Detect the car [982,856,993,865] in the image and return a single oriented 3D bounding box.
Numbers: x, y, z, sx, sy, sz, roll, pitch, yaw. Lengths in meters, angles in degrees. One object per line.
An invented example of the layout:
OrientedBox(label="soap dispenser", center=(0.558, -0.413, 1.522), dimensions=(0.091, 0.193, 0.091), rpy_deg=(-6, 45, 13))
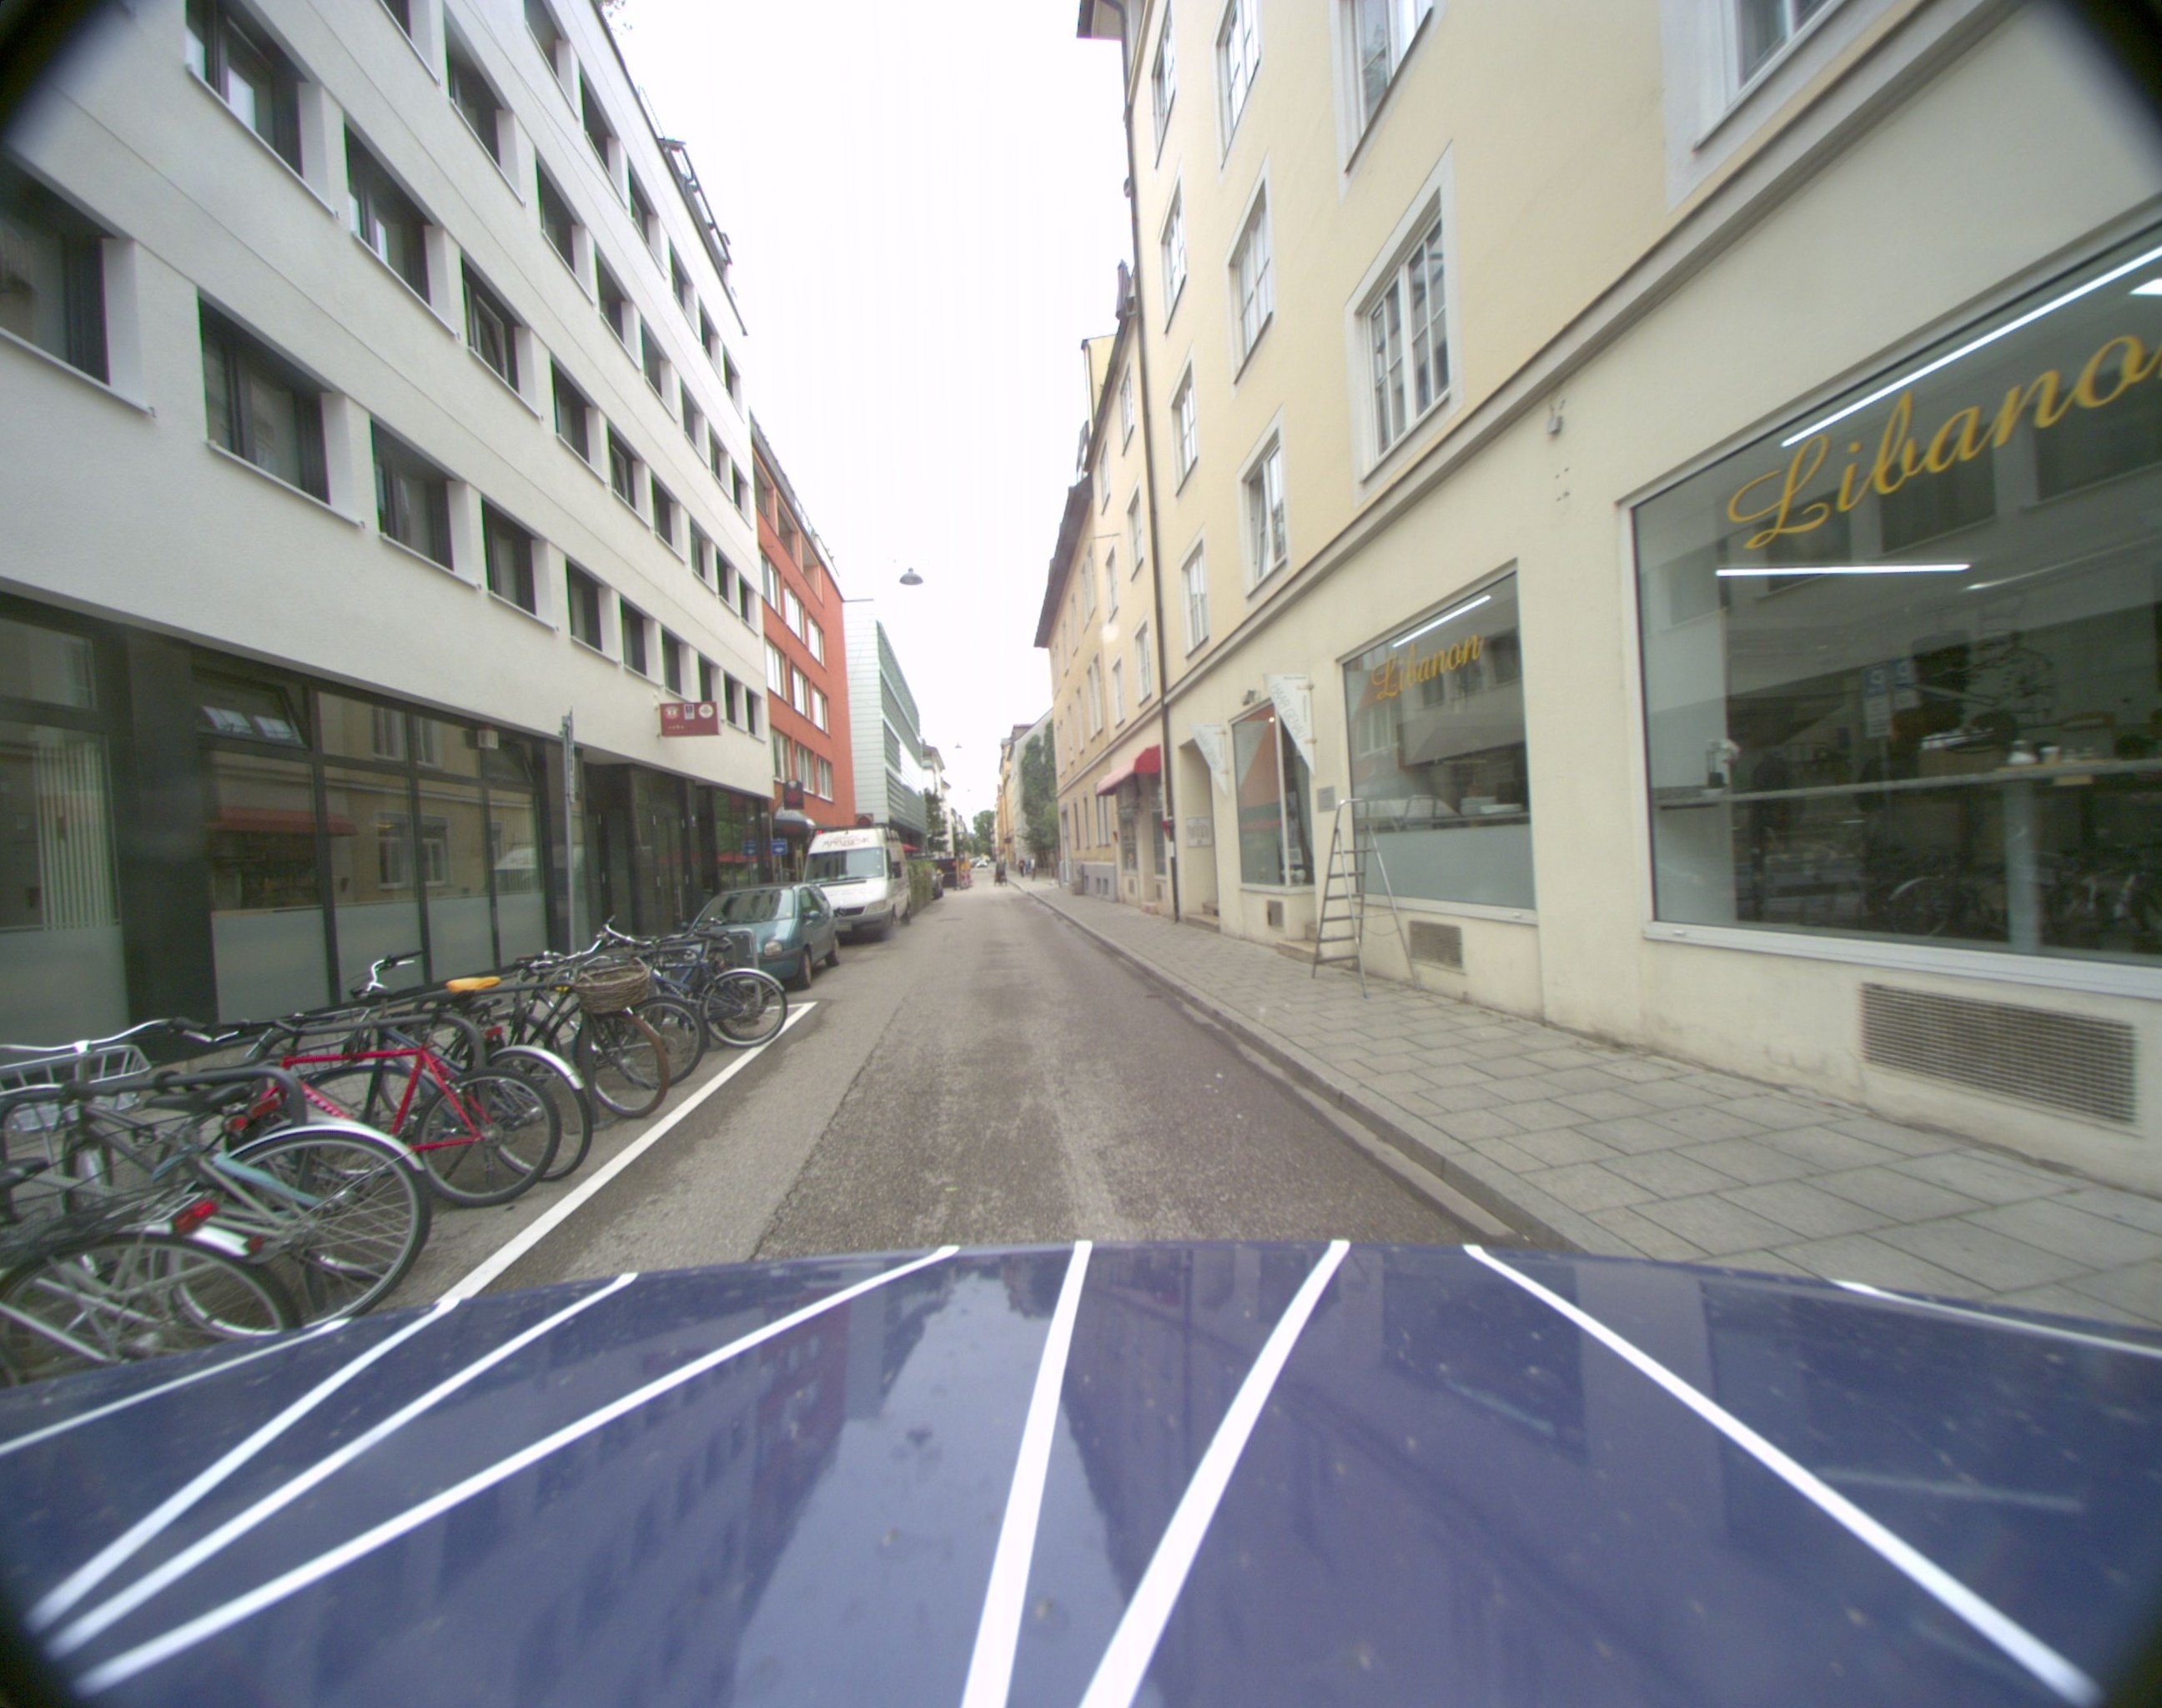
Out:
OrientedBox(label="car", center=(-18.141, 1.217, 146.688), dimensions=(2.000, 1.583, 4.372), rpy_deg=(-4, 1, -7))

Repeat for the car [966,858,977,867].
OrientedBox(label="car", center=(-17.697, 1.387, 122.759), dimensions=(1.626, 1.259, 4.326), rpy_deg=(-4, 0, -7))

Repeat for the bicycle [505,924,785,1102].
OrientedBox(label="bicycle", center=(-3.509, 1.260, 6.237), dimensions=(1.880, 1.197, 0.488), rpy_deg=(-4, 0, -9))

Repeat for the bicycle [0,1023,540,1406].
OrientedBox(label="bicycle", center=(-3.336, 1.339, 2.948), dimensions=(1.880, 1.046, 0.563), rpy_deg=(-4, 2, -10))

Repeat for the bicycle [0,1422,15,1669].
OrientedBox(label="bicycle", center=(-3.191, 1.313, 1.378), dimensions=(1.618, 1.073, 0.378), rpy_deg=(-4, 0, -10))

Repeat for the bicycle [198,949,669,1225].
OrientedBox(label="bicycle", center=(-3.433, 1.208, 4.190), dimensions=(1.899, 1.163, 0.565), rpy_deg=(-3, 1, -9))

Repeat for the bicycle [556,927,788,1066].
OrientedBox(label="bicycle", center=(-4.011, 1.382, 7.563), dimensions=(1.879, 1.073, 0.488), rpy_deg=(-6, 0, -9))

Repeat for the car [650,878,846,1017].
OrientedBox(label="car", center=(-4.548, 1.176, 10.926), dimensions=(1.585, 1.455, 3.549), rpy_deg=(-4, 0, -8))

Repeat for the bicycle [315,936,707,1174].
OrientedBox(label="bicycle", center=(-3.499, 1.205, 4.814), dimensions=(1.880, 1.197, 0.579), rpy_deg=(-3, 1, -9))

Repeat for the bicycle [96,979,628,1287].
OrientedBox(label="bicycle", center=(-3.327, 1.265, 3.656), dimensions=(1.880, 1.089, 0.439), rpy_deg=(-4, 0, -10))

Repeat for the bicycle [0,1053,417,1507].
OrientedBox(label="bicycle", center=(-3.217, 1.279, 2.260), dimensions=(1.880, 1.073, 0.402), rpy_deg=(-4, 0, -10))

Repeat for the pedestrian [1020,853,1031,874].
OrientedBox(label="pedestrian", center=(-4.926, 0.854, 67.571), dimensions=(0.778, 1.826, 0.991), rpy_deg=(-4, 1, -7))

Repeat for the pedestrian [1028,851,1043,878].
OrientedBox(label="pedestrian", center=(-3.216, 0.753, 53.812), dimensions=(0.861, 1.834, 0.973), rpy_deg=(-5, 1, -5))

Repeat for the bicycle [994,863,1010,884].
OrientedBox(label="bicycle", center=(-5.223, 1.295, 50.303), dimensions=(0.935, 1.250, 2.412), rpy_deg=(-3, 1, -7))

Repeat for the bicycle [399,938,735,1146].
OrientedBox(label="bicycle", center=(-3.647, 1.311, 5.533), dimensions=(1.879, 1.150, 0.565), rpy_deg=(-5, 0, -9))

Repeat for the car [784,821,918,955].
OrientedBox(label="car", center=(-5.197, 0.685, 18.091), dimensions=(1.926, 2.491, 5.993), rpy_deg=(-5, 0, -8))

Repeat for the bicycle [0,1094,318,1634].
OrientedBox(label="bicycle", center=(-3.127, 1.286, 1.829), dimensions=(1.880, 1.073, 0.408), rpy_deg=(-4, 0, -10))

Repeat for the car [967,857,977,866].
OrientedBox(label="car", center=(-20.815, 1.409, 145.110), dimensions=(1.794, 1.550, 3.997), rpy_deg=(-4, 1, -7))

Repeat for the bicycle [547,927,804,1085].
OrientedBox(label="bicycle", center=(-3.540, 1.313, 6.757), dimensions=(1.879, 1.101, 0.488), rpy_deg=(-5, 0, -9))

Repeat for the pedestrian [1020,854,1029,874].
OrientedBox(label="pedestrian", center=(-4.854, 0.860, 65.200), dimensions=(0.554, 1.650, 0.997), rpy_deg=(-4, 1, -7))

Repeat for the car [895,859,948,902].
OrientedBox(label="car", center=(-7.341, 1.169, 35.394), dimensions=(1.829, 1.700, 4.386), rpy_deg=(-5, 0, -6))

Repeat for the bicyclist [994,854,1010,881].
OrientedBox(label="bicyclist", center=(-5.183, 0.904, 49.862), dimensions=(0.929, 1.711, 1.099), rpy_deg=(-3, 0, -7))
